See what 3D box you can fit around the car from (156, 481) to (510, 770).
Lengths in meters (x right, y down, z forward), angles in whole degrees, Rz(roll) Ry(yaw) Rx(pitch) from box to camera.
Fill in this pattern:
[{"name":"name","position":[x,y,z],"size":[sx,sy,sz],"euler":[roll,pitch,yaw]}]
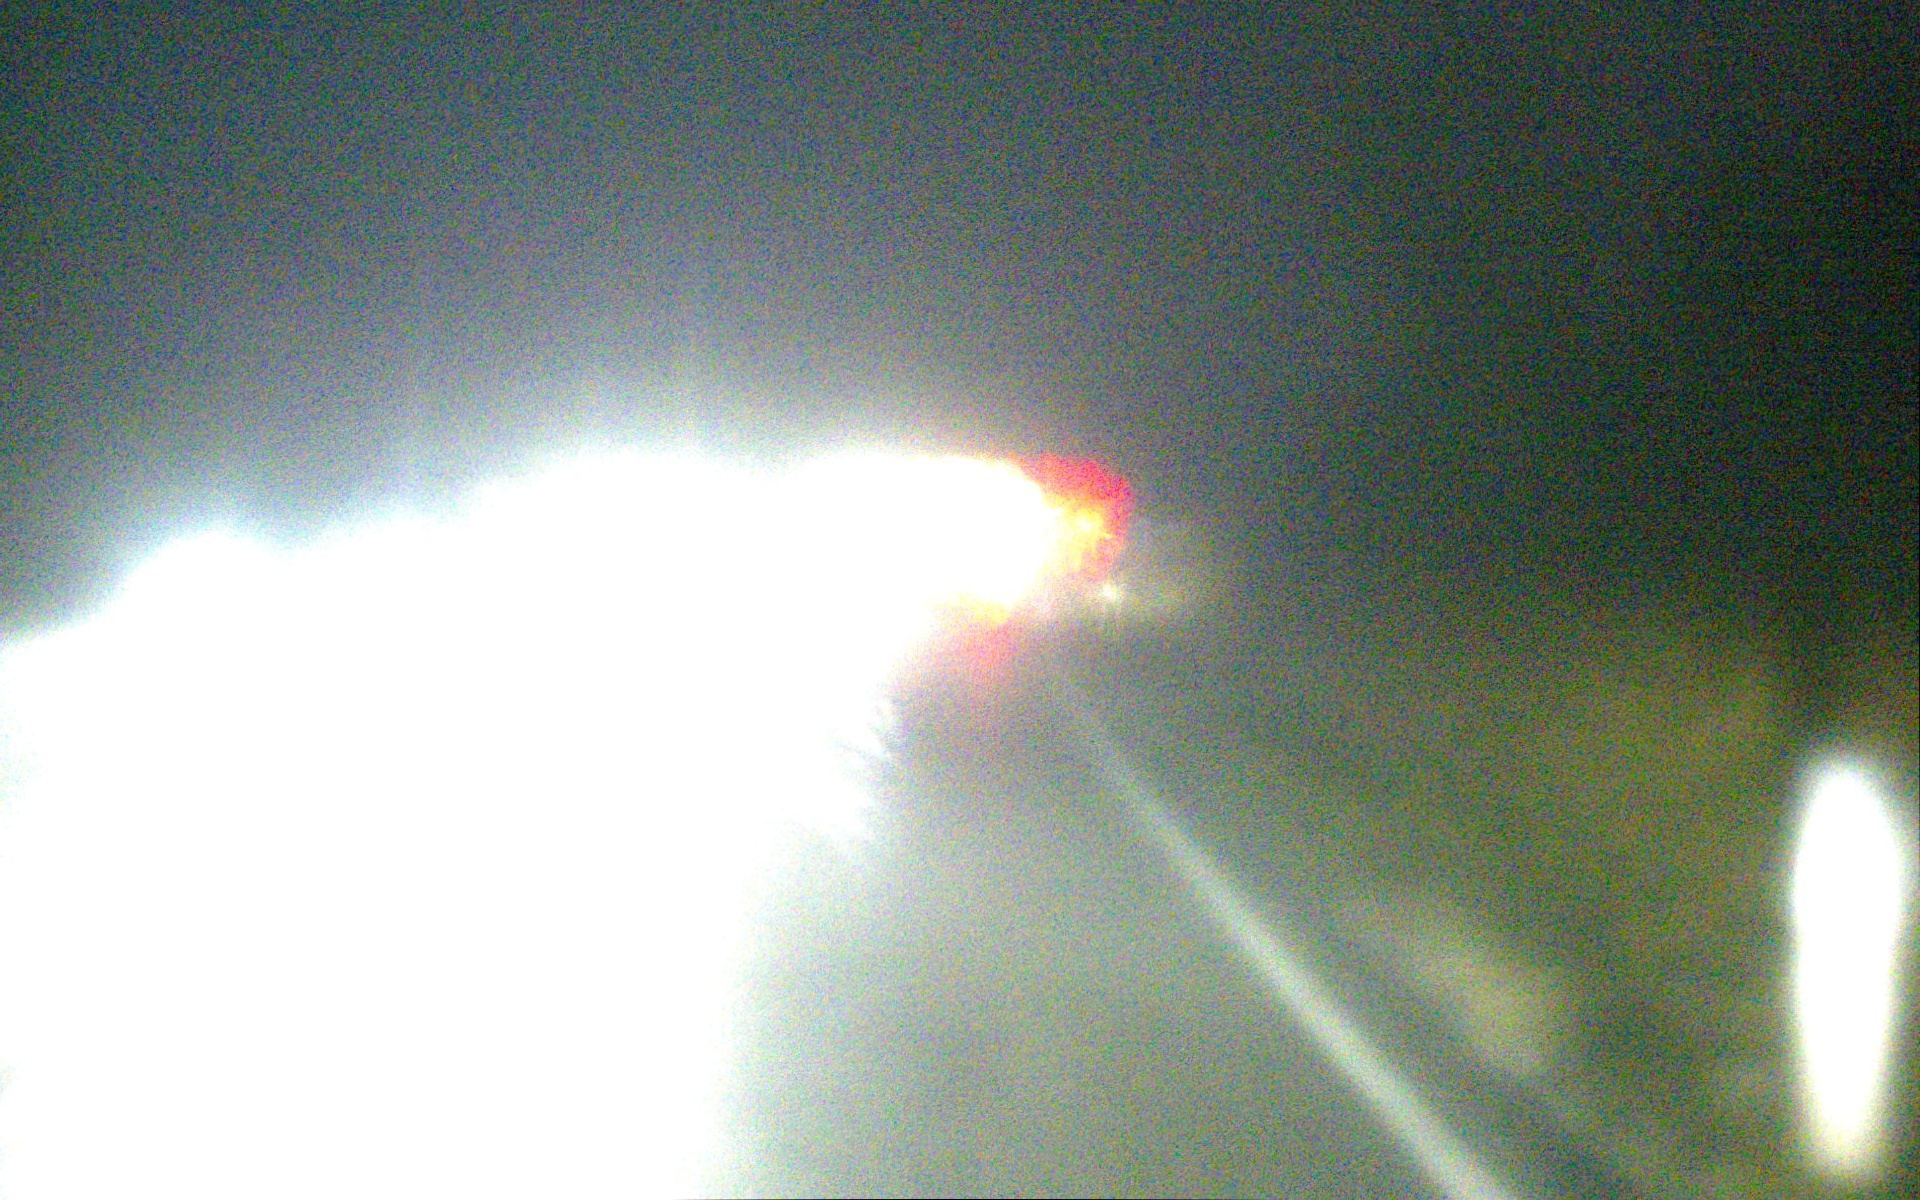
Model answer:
[{"name":"car","position":[-4.434,0.158,24.857],"size":[1.803,1.921,4.000],"euler":[0,0,0]}]

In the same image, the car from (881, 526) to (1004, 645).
[{"name":"car","position":[-0.286,-0.266,54.244],"size":[1.842,1.734,4.001],"euler":[1,2,-1]}]

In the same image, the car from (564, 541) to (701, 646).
[{"name":"car","position":[-4.519,-0.095,47.805],"size":[1.596,1.397,3.470],"euler":[0,0,0]}]

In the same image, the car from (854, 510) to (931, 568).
[{"name":"car","position":[-1.973,-1.809,101.244],"size":[1.994,1.618,4.000],"euler":[2,1,2]}]
